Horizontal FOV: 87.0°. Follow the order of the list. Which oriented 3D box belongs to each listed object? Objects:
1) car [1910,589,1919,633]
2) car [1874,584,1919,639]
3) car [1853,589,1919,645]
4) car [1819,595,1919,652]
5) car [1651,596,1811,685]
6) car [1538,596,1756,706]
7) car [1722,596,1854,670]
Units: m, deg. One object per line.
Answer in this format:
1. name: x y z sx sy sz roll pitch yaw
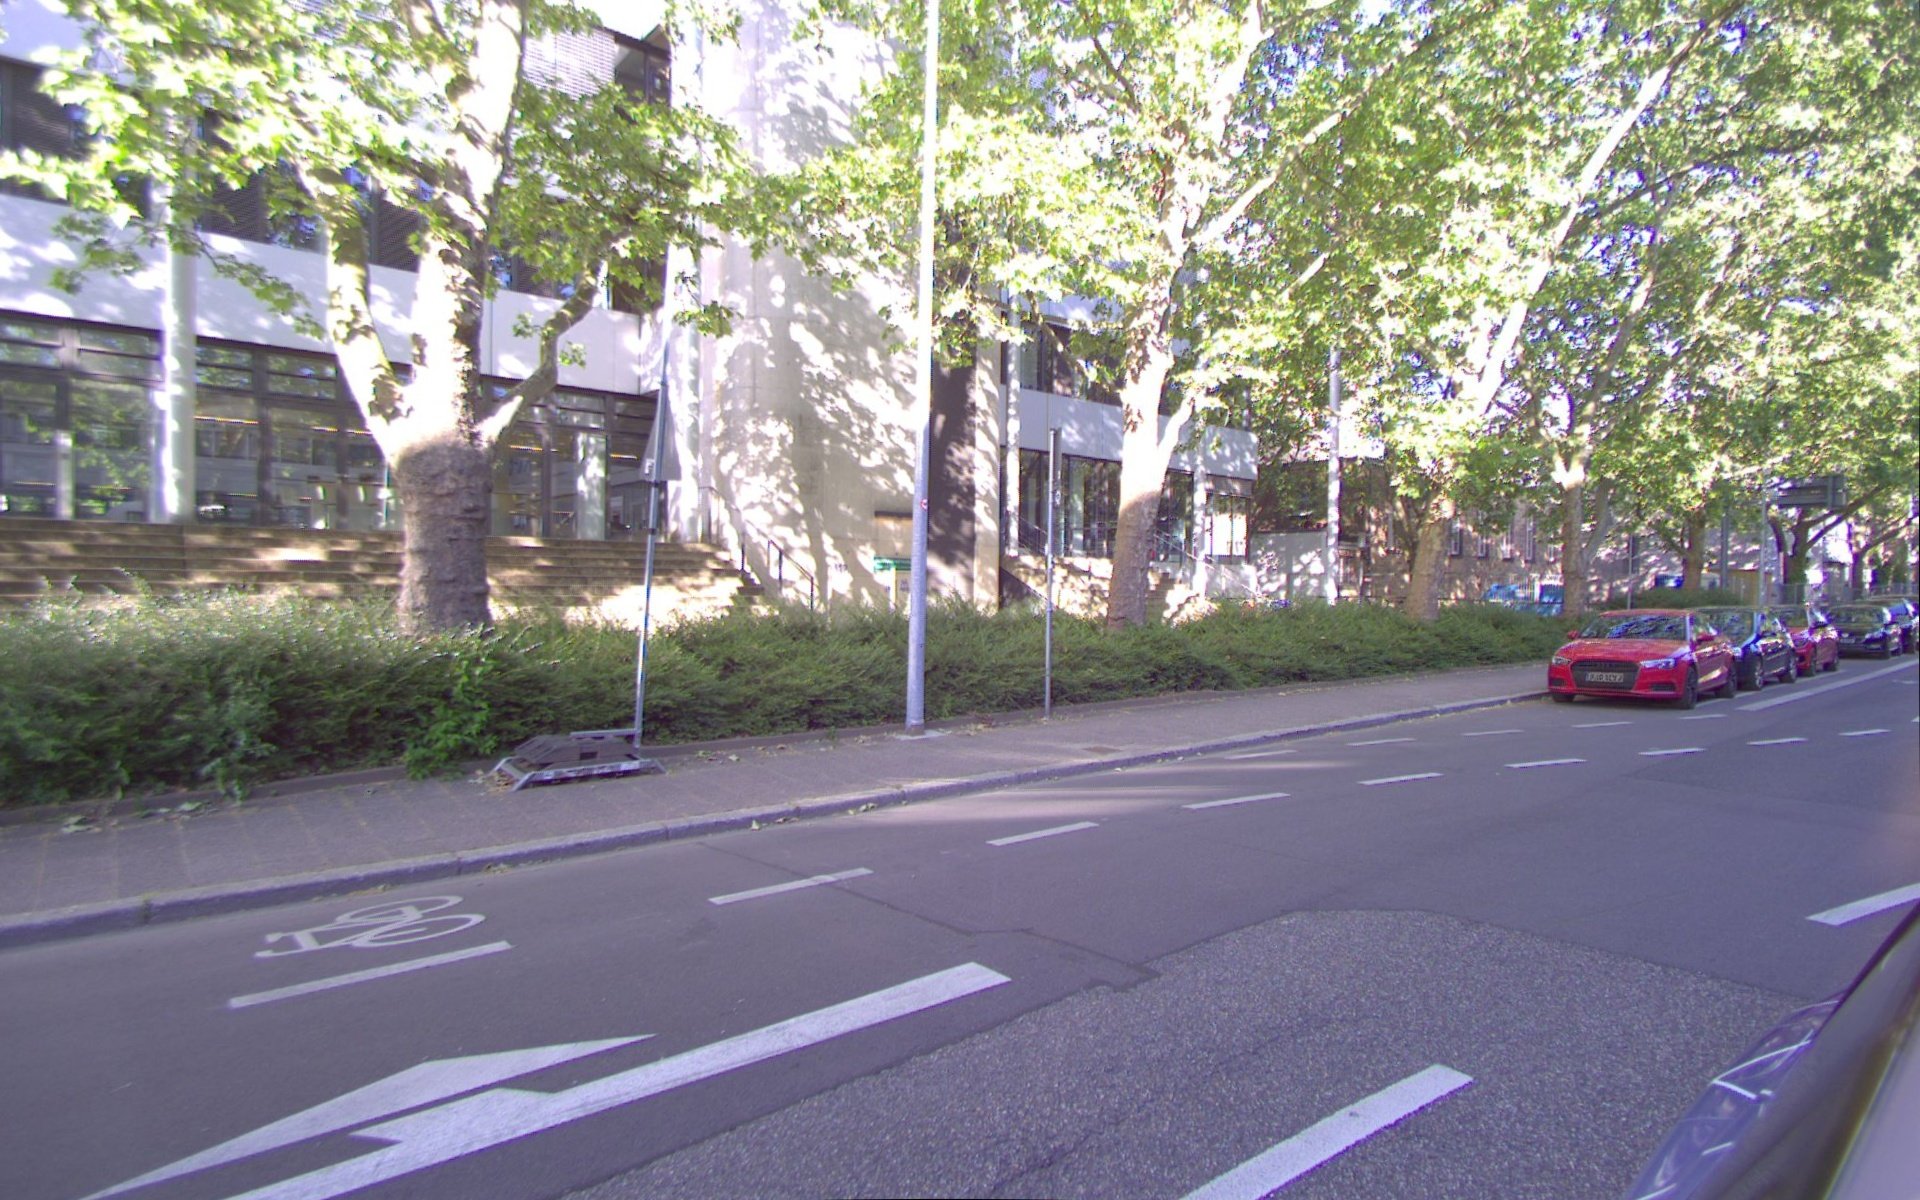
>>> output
1. car: 38.277 0.413 39.317 3.778 1.675 1.634 0 -1 -41
2. car: 33.174 0.375 35.181 3.778 1.828 1.634 0 -1 -41
3. car: 28.923 0.496 31.150 3.778 1.607 1.634 0 -1 -41
4. car: 25.377 0.619 28.201 3.675 1.483 1.634 0 -1 -41
5. car: 14.294 0.674 18.696 3.675 1.483 1.634 0 -1 -41
6. car: 10.698 0.688 15.655 4.053 1.483 1.802 0 -1 -41
7. car: 18.150 0.667 22.131 3.675 1.483 1.634 0 -1 -41
